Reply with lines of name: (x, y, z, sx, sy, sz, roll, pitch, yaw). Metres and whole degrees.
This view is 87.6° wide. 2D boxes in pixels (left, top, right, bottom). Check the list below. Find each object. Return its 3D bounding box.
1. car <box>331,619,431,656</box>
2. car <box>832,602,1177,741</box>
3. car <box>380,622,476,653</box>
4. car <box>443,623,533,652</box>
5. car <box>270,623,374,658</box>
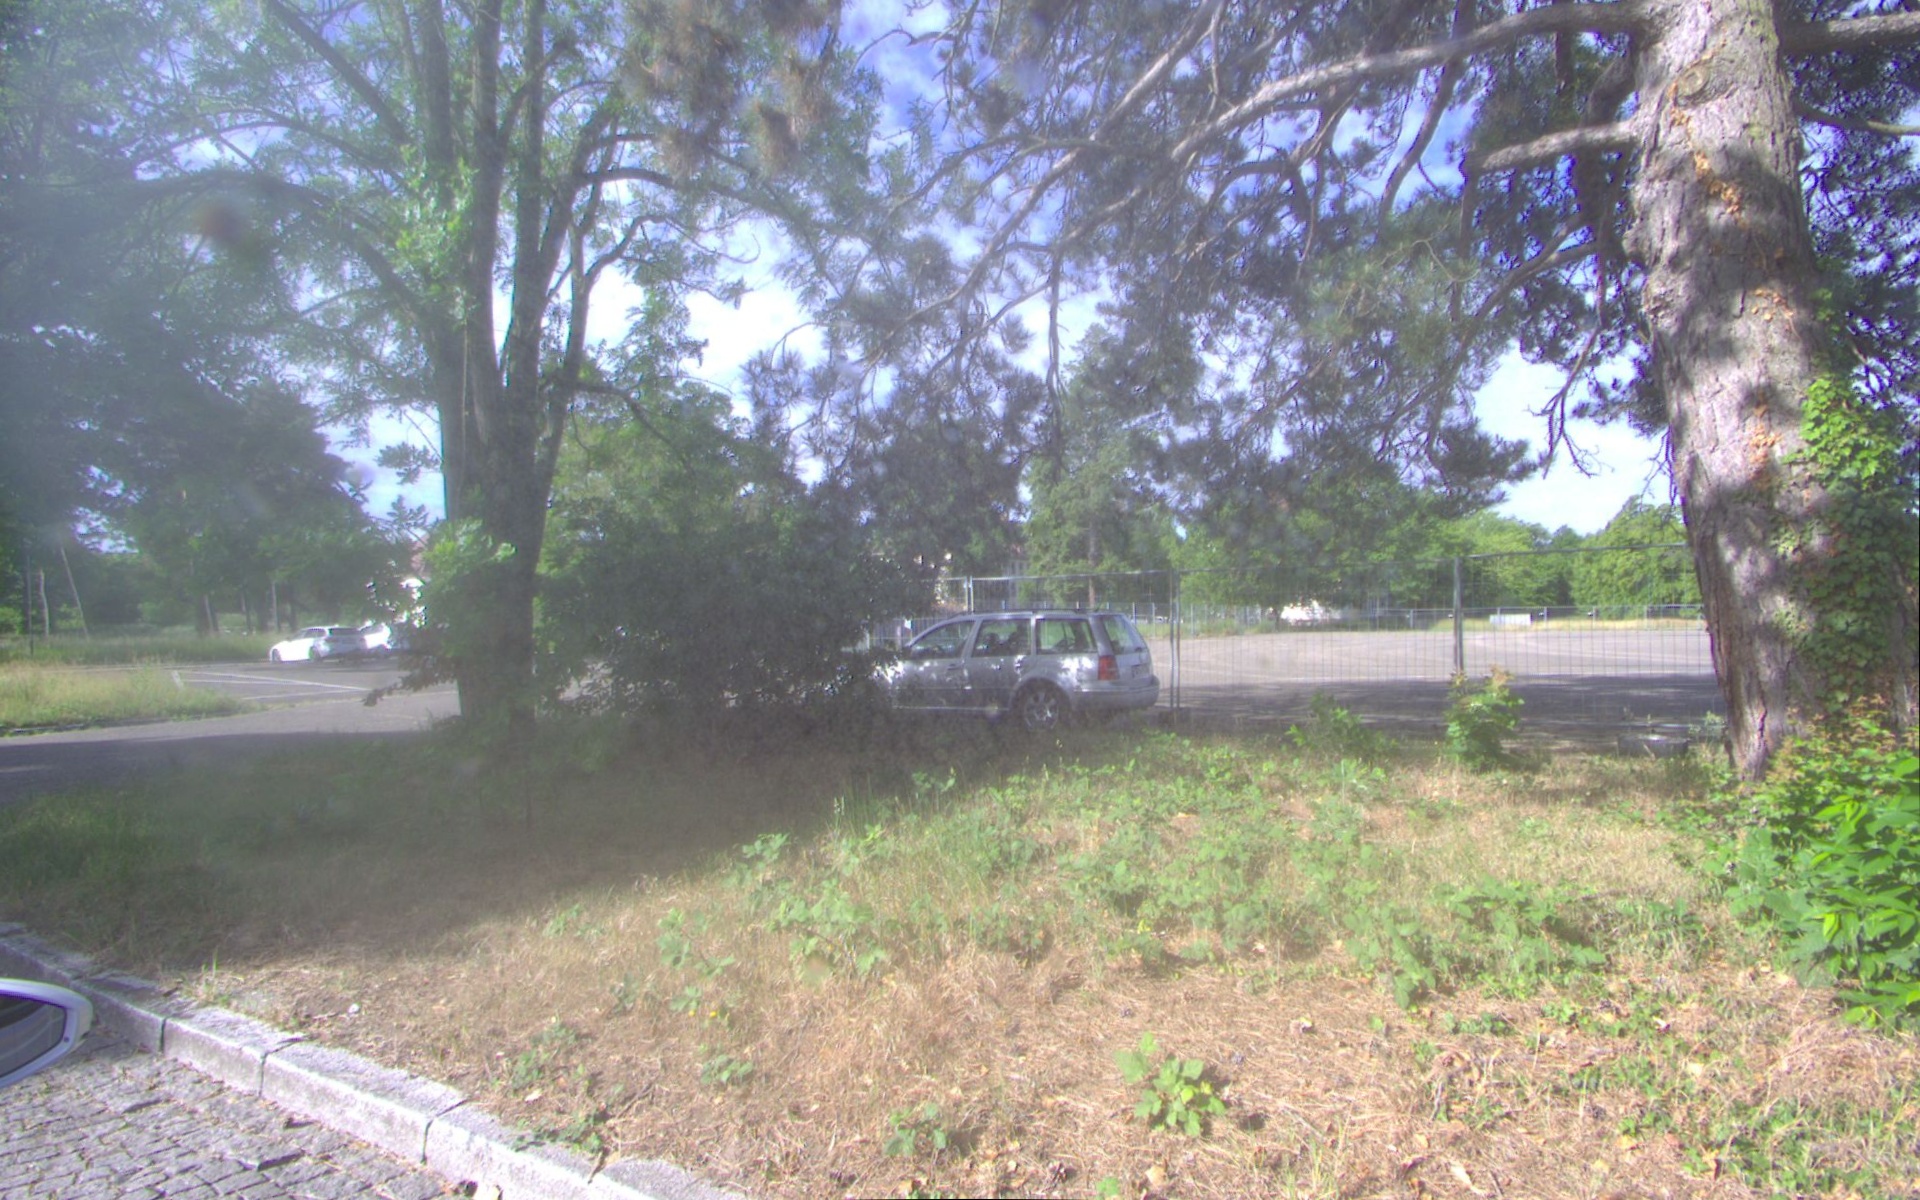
car: (-24.770, 1.606, 42.805, 4.265, 1.496, 1.729, -1, -1, 28)
car: (0.513, 0.807, 12.374, 3.938, 1.487, 1.666, -1, -1, 28)
car: (-23.909, 1.677, 44.974, 4.265, 1.329, 1.729, -1, 0, 28)
car: (-22.490, 1.766, 47.689, 4.265, 1.329, 1.729, -1, 0, 28)
car: (-25.816, 1.605, 40.490, 4.265, 1.329, 1.729, -1, -1, 28)
